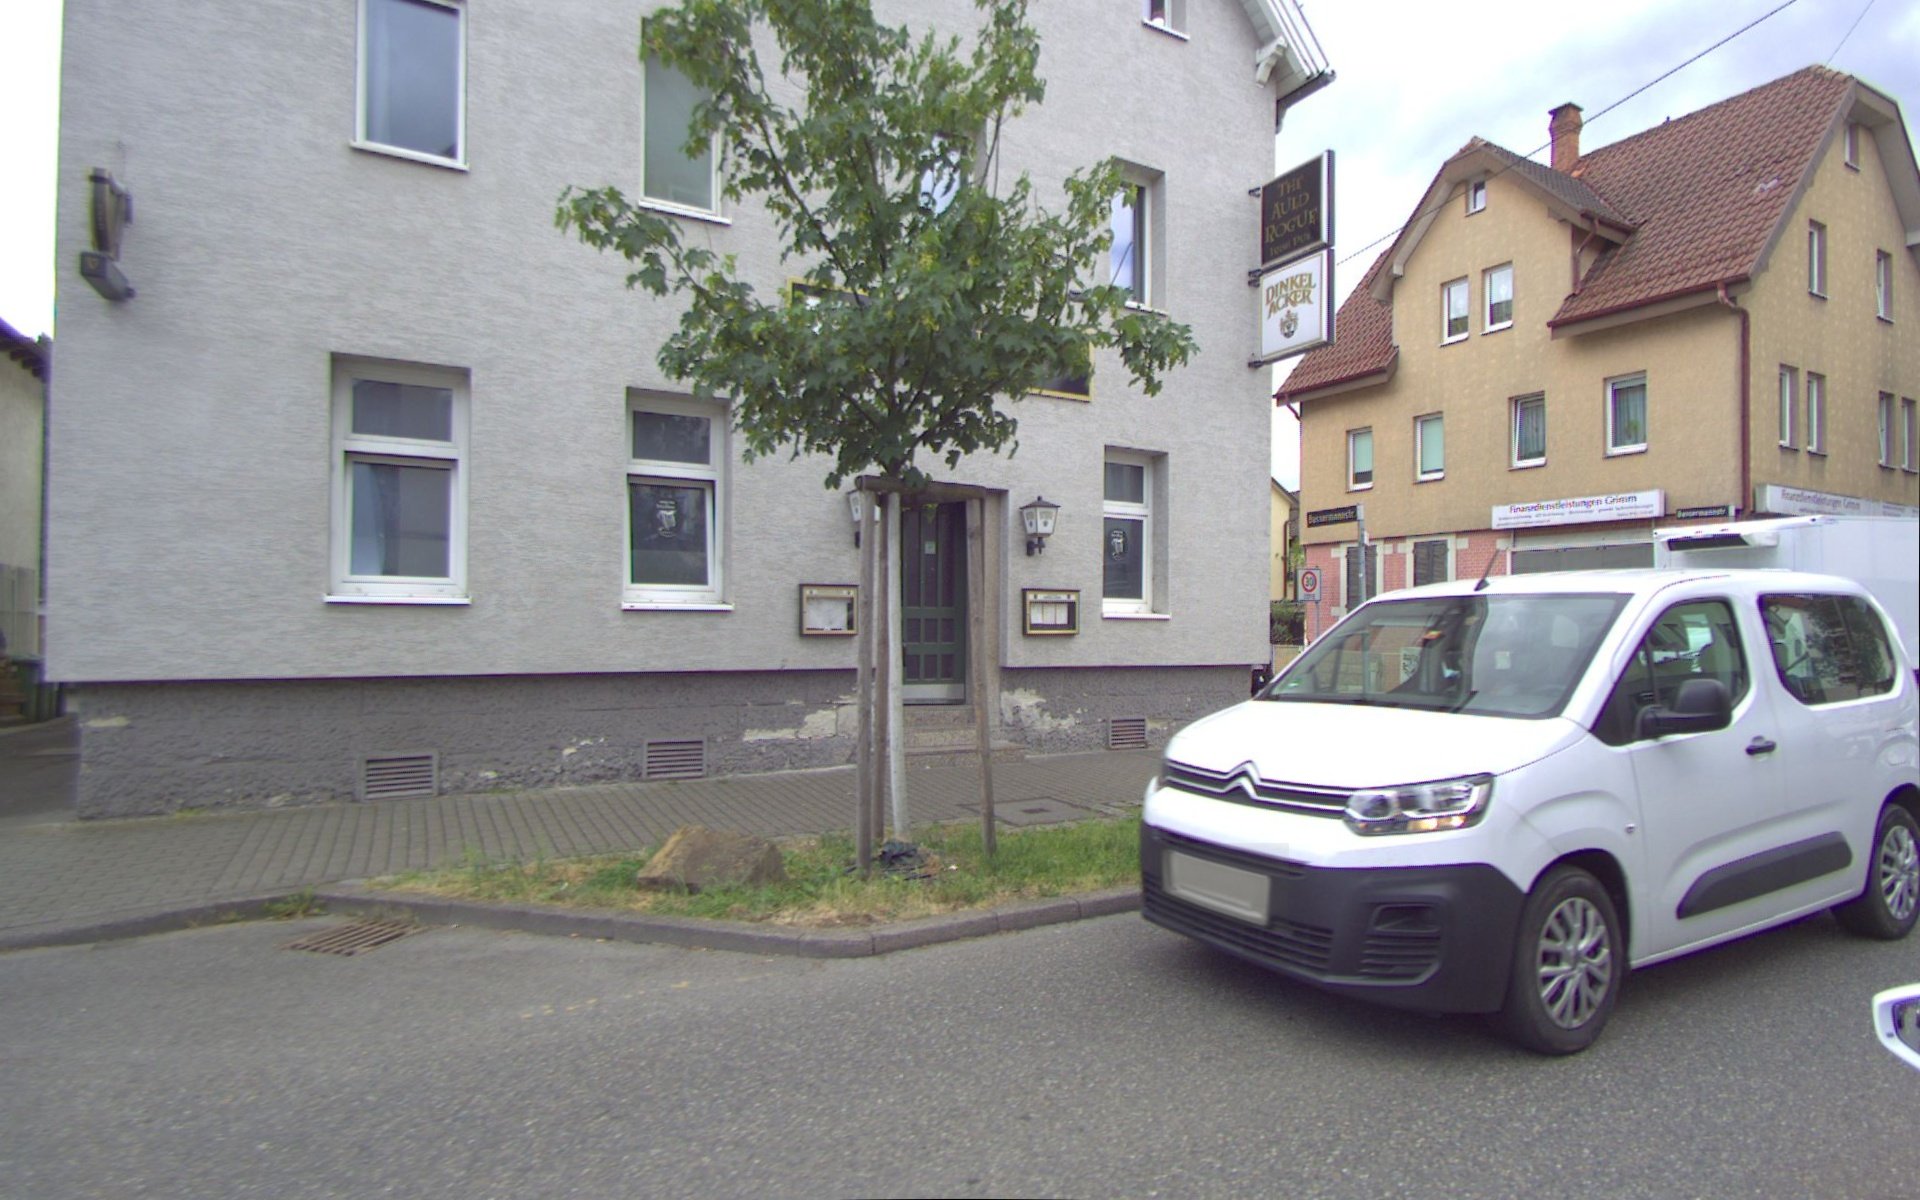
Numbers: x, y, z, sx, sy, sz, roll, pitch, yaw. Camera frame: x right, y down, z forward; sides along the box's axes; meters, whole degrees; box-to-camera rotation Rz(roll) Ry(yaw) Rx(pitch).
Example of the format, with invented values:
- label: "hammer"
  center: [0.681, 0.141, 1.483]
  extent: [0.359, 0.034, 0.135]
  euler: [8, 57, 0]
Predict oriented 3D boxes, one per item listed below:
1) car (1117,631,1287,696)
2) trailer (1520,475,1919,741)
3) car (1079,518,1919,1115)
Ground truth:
- label: "car"
  center: [6.180, 1.653, 26.054]
  extent: [1.956, 1.467, 4.180]
  euler: [5, -5, -29]
- label: "trailer"
  center: [11.870, 0.151, 14.929]
  extent: [7.036, 3.262, 2.496]
  euler: [1, 0, -24]
- label: "car"
  center: [2.887, 0.720, 4.990]
  extent: [4.225, 1.819, 1.985]
  euler: [1, -2, -29]
